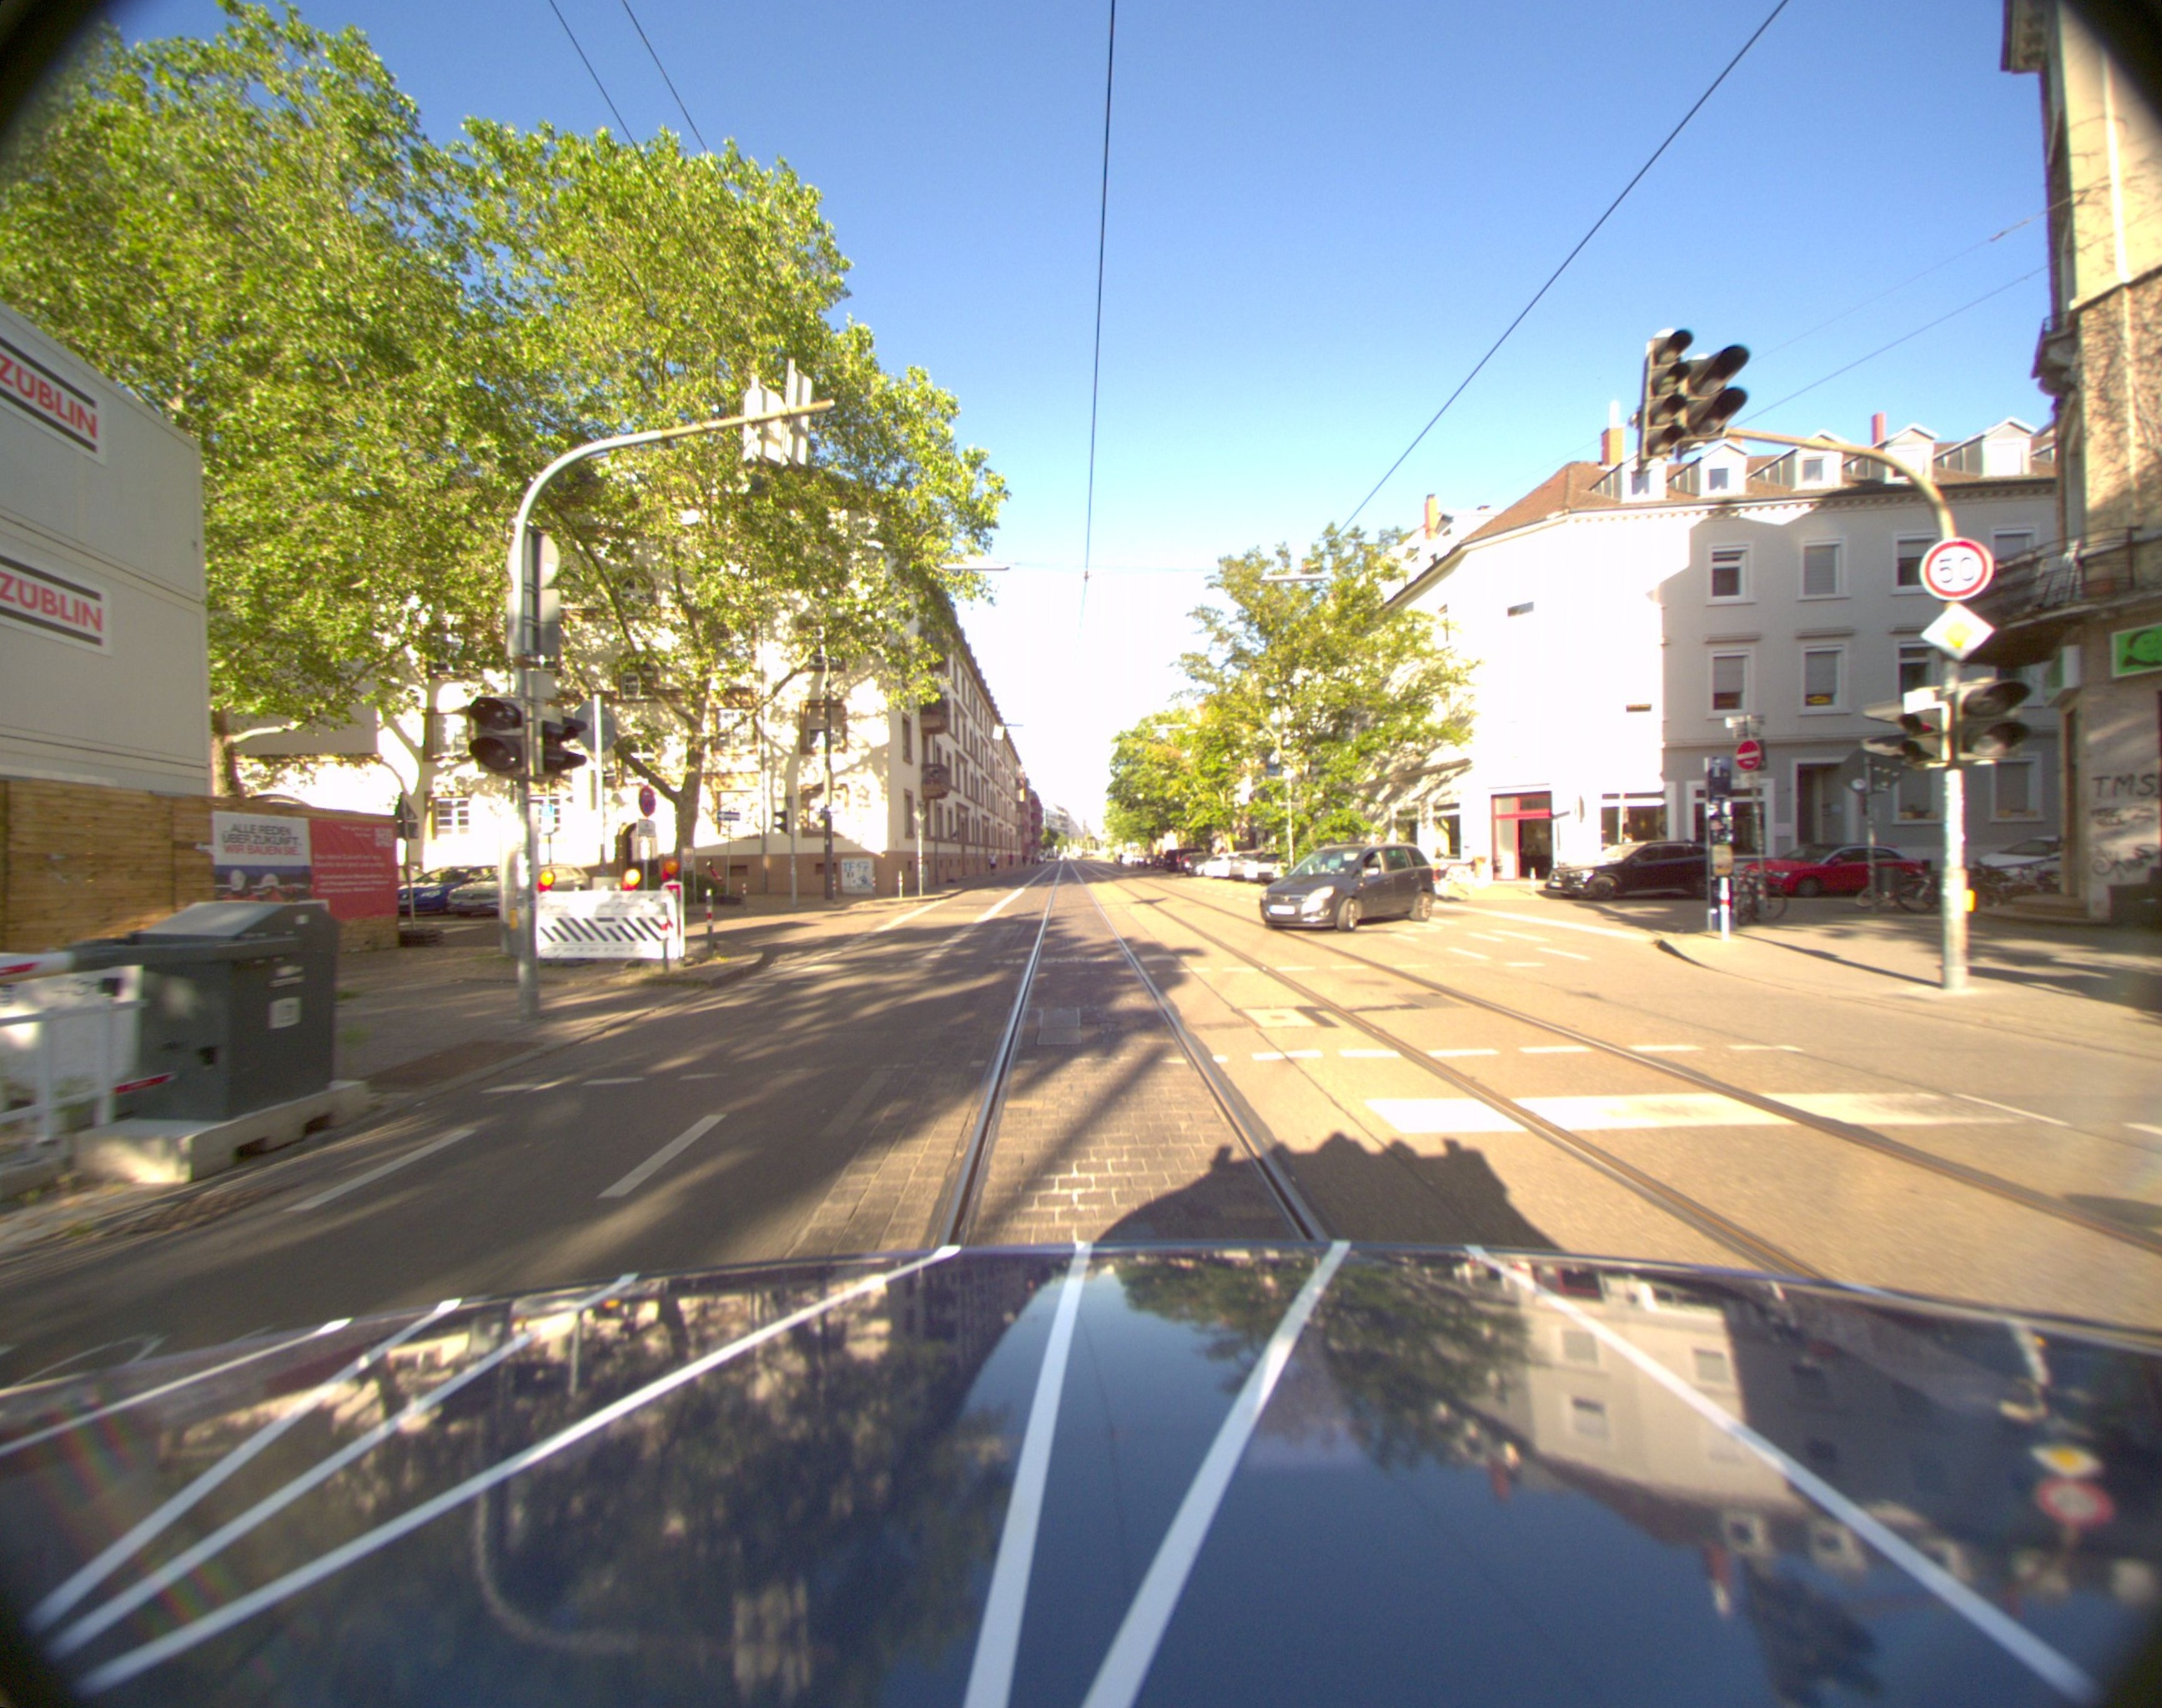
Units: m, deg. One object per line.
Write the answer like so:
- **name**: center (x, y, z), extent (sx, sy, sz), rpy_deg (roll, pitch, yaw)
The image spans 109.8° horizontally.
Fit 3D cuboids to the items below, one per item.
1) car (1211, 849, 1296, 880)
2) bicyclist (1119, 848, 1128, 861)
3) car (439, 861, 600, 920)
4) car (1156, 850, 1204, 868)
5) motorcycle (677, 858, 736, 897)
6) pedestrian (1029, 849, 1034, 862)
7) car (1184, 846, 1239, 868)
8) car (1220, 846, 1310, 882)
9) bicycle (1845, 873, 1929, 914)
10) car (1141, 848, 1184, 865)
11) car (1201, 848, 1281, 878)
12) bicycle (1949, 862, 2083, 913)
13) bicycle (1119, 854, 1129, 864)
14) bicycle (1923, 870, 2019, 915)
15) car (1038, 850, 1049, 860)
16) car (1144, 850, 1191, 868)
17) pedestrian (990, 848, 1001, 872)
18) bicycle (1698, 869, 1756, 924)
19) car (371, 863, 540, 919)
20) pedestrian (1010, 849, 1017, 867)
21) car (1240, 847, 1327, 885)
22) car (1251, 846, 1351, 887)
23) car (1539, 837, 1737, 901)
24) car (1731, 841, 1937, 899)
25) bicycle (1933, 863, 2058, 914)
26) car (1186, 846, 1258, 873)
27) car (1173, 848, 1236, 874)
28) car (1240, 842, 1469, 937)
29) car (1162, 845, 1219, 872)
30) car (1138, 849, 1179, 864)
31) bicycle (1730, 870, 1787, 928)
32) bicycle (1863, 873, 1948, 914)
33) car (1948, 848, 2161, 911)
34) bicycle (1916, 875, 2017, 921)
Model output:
- **car**: center (9.343, 0.545, 41.212), extent (4.137, 1.480, 1.618), rpy_deg (-3, 2, -15)
- **bicyclist**: center (4.956, 0.054, 88.119), extent (0.901, 1.445, 1.263), rpy_deg (-1, 1, -1)
- **car**: center (-17.111, 1.026, 23.472), extent (1.727, 1.562, 4.475), rpy_deg (-1, 0, -2)
- **car**: center (9.059, 0.430, 69.864), extent (4.133, 1.480, 1.619), rpy_deg (-2, 2, -1)
- **motorcycle**: center (-12.993, 0.809, 26.371), extent (1.762, 1.325, 0.515), rpy_deg (-1, 1, -3)
- **pedestrian**: center (-7.066, 0.270, 108.899), extent (0.738, 1.827, 0.696), rpy_deg (-1, 1, -2)
- **car**: center (9.892, 0.194, 57.509), extent (4.142, 1.480, 1.616), rpy_deg (-3, 2, -33)
- **car**: center (9.236, 0.481, 38.189), extent (4.139, 1.547, 1.617), rpy_deg (-3, 2, -20)
- **bicycle**: center (17.406, 0.832, 16.436), extent (0.371, 0.813, 1.312), rpy_deg (-1, 1, -4)
- **car**: center (8.579, 0.246, 80.001), extent (4.138, 1.653, 1.617), rpy_deg (-3, 2, -16)
- **car**: center (9.090, 0.464, 43.284), extent (4.138, 1.480, 1.618), rpy_deg (-3, 2, -16)
- **bicycle**: center (19.314, 0.659, 15.752), extent (0.481, 0.956, 1.769), rpy_deg (-1, 1, -6)
- **bicycle**: center (4.966, 0.568, 88.233), extent (0.901, 1.158, 3.248), rpy_deg (-1, 0, -1)
- **bicycle**: center (18.514, 0.790, 15.842), extent (0.381, 0.814, 1.312), rpy_deg (-1, 3, -4)
- **car**: center (-7.297, 0.211, 147.565), extent (1.889, 1.674, 4.391), rpy_deg (-2, -1, -4)
- **car**: center (8.416, 0.490, 73.988), extent (4.138, 1.480, 1.617), rpy_deg (-3, 2, -16)
- **pedestrian**: center (-6.583, 0.489, 58.629), extent (0.738, 1.827, 0.696), rpy_deg (-1, 1, -2)
- **bicycle**: center (12.978, 0.839, 15.252), extent (1.691, 1.039, 0.457), rpy_deg (1, -1, -35)
- **car**: center (-19.572, 1.092, 24.094), extent (1.727, 1.492, 4.475), rpy_deg (-1, 0, -2)
- **pedestrian**: center (-7.272, 0.429, 82.059), extent (0.738, 1.827, 0.696), rpy_deg (-1, 1, -2)
- **car**: center (9.646, 0.550, 36.146), extent (4.142, 1.547, 1.616), rpy_deg (-3, 2, -33)
- **car**: center (9.678, 0.510, 33.379), extent (4.140, 1.547, 1.617), rpy_deg (-3, 2, -25)
- **car**: center (15.591, 0.434, 21.449), extent (4.193, 1.652, 1.767), rpy_deg (-1, -1, 4)
- **car**: center (20.949, 0.454, 21.267), extent (3.950, 1.494, 1.651), rpy_deg (-1, -1, 4)
- **bicycle**: center (18.904, 0.687, 15.762), extent (0.427, 0.956, 1.770), rpy_deg (-1, 1, -1)
- **car**: center (8.880, 0.355, 47.864), extent (4.135, 1.480, 1.619), rpy_deg (-2, 2, -7)
- **car**: center (8.237, 0.431, 50.581), extent (4.142, 1.480, 1.616), rpy_deg (-3, 2, -33)
- **car**: center (5.669, 0.634, 15.376), extent (5.194, 1.652, 1.795), rpy_deg (0, -1, -37)
- **car**: center (8.577, 0.322, 59.423), extent (4.142, 1.877, 1.884), rpy_deg (-3, 2, -33)
- **car**: center (8.486, 0.236, 83.313), extent (4.138, 1.480, 1.617), rpy_deg (-3, 2, -16)
- **bicycle**: center (13.234, 0.847, 14.833), extent (1.667, 1.040, 0.450), rpy_deg (-1, 1, -35)
- **bicycle**: center (17.789, 0.832, 16.424), extent (0.355, 0.813, 1.312), rpy_deg (-1, 1, -4)
- **car**: center (26.693, 0.692, 20.825), extent (3.784, 1.577, 1.642), rpy_deg (-1, -1, 4)
- **bicycle**: center (18.206, 0.892, 15.663), extent (0.361, 0.814, 1.390), rpy_deg (-1, 3, -4)
